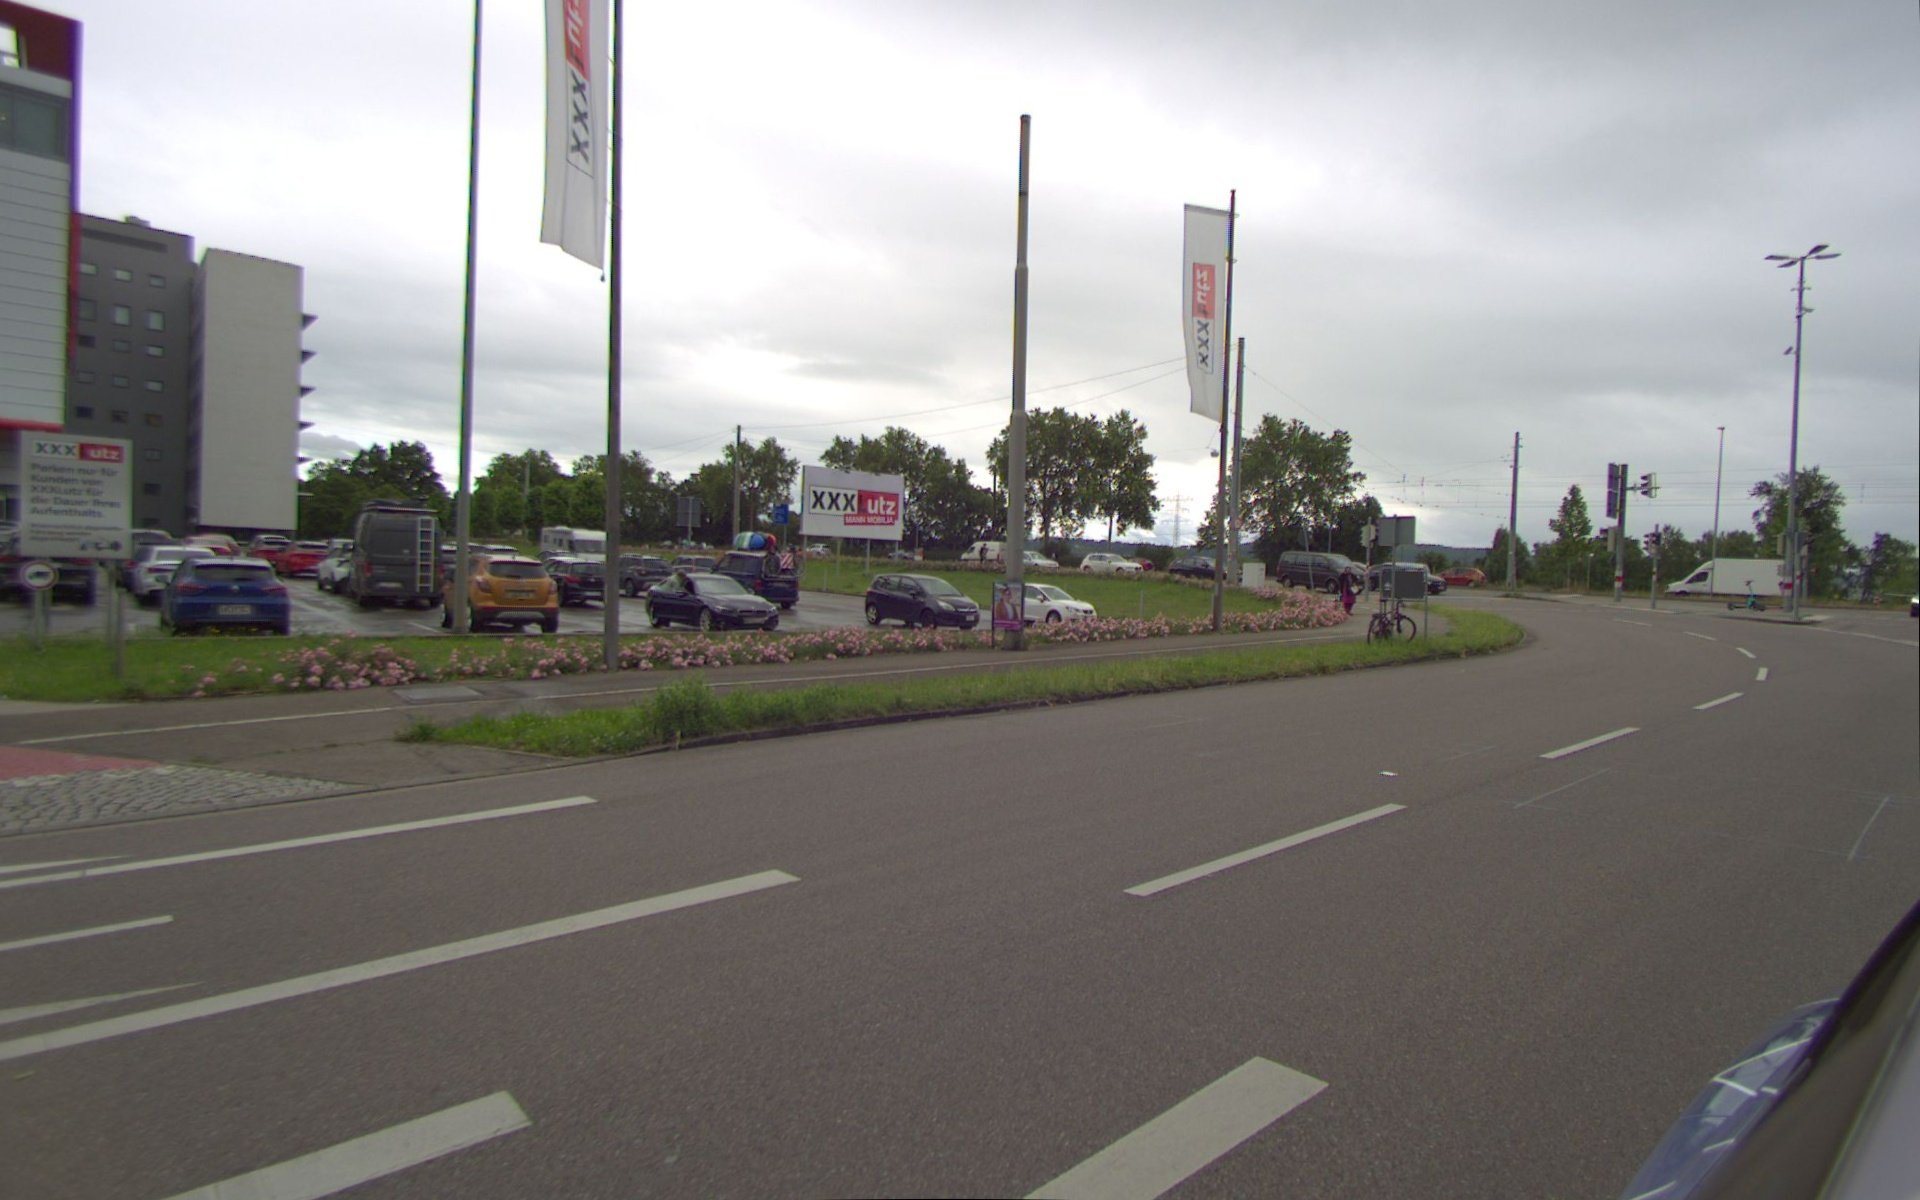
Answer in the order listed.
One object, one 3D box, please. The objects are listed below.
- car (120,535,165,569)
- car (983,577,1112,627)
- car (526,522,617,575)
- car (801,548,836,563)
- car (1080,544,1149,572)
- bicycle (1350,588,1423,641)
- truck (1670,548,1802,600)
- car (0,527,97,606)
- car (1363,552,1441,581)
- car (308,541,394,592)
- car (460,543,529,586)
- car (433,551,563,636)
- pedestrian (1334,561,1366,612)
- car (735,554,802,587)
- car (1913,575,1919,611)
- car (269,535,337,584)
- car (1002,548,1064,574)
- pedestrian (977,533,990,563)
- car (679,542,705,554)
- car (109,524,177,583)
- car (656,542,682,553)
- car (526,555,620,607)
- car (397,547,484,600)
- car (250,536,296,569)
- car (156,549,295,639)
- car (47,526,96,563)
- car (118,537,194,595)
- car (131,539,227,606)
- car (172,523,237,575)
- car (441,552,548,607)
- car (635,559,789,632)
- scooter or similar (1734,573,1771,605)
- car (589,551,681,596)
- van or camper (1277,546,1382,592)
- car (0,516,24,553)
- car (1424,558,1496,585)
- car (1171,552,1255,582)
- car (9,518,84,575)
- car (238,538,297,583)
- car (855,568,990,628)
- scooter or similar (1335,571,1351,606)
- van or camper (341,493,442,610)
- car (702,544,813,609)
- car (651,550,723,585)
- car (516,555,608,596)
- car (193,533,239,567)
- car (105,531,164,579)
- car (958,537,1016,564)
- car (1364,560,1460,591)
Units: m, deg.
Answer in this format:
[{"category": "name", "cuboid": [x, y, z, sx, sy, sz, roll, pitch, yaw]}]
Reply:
[{"category": "car", "cuboid": [-40.457, -2.349, 50.057, 1.621, 1.580, 3.611, 1, 0, -40]}, {"category": "car", "cuboid": [2.880, 0.058, 34.045, 1.843, 1.464, 4.112, 3, 0, -43]}, {"category": "car", "cuboid": [-24.706, -3.243, 64.167, 6.932, 3.027, 2.724, 3, 0, 45]}, {"category": "car", "cuboid": [-17.029, -5.365, 121.957, 4.183, 1.571, 1.834, 4, 1, 40]}, {"category": "car", "cuboid": [9.537, -2.597, 62.820, 1.703, 1.558, 4.040, 3, 1, -42]}, {"category": "bicycle", "cuboid": [9.077, 0.281, 21.529, 1.660, 1.061, 0.665, -1, 2, -36]}, {"category": "truck", "cuboid": [50.114, -1.694, 65.537, 6.513, 2.959, 2.788, 4, 1, 39]}, {"category": "car", "cuboid": [-22.057, -0.837, 24.333, 1.801, 1.674, 3.897, 1, 3, -43]}, {"category": "car", "cuboid": [34.023, -2.603, 77.951, 5.094, 1.903, 2.072, 4, 1, 37]}, {"category": "car", "cuboid": [-20.100, -1.104, 33.355, 1.822, 1.575, 3.995, 0, 2, -40]}, {"category": "car", "cuboid": [-21.143, -1.632, 45.919, 1.831, 1.802, 4.221, 1, 3, -39]}, {"category": "car", "cuboid": [-10.158, -0.210, 22.098, 1.782, 1.663, 3.999, 0, 2, -37]}, {"category": "pedestrian", "cuboid": [12.860, -0.466, 33.390, 0.771, 1.616, 0.715, -3, 5, -45]}, {"category": "car", "cuboid": [-10.508, -1.629, 55.350, 1.881, 1.778, 3.995, 0, 2, -41]}, {"category": "car", "cuboid": [38.991, -0.265, 39.799, 4.272, 1.408, 1.996, -1, 3, -44]}, {"category": "car", "cuboid": [-26.556, -1.636, 40.834, 1.801, 1.884, 3.995, 0, 2, -41]}, {"category": "car", "cuboid": [4.888, -2.644, 68.226, 1.718, 1.622, 4.066, 3, 0, -44]}, {"category": "pedestrian", "cuboid": [1.440, -3.238, 62.939, 0.625, 1.804, 0.544, 3, 0, 13]}, {"category": "car", "cuboid": [-38.805, -7.549, 146.655, 1.967, 1.645, 3.991, -1, 2, -44]}, {"category": "car", "cuboid": [-30.425, -1.712, 37.652, 1.851, 2.073, 3.994, 0, 2, -41]}, {"category": "car", "cuboid": [-45.633, -8.220, 158.843, 4.300, 1.581, 1.834, 4, -1, 41]}, {"category": "car", "cuboid": [-12.630, -0.661, 32.915, 1.911, 1.575, 4.000, 0, 2, -36]}, {"category": "car", "cuboid": [-17.945, -0.944, 34.869, 1.852, 1.690, 3.997, 0, 3, -40]}, {"category": "car", "cuboid": [-36.342, -2.511, 53.490, 1.621, 1.579, 3.613, 2, 3, -40]}, {"category": "car", "cuboid": [-13.637, -0.189, 18.699, 1.783, 1.473, 3.995, -1, 3, -40]}, {"category": "car", "cuboid": [-41.776, -2.627, 47.636, 1.621, 1.579, 3.613, 2, 3, -40]}, {"category": "car", "cuboid": [-23.366, -0.984, 29.377, 1.628, 1.575, 3.674, 0, 2, -40]}, {"category": "car", "cuboid": [-20.101, -0.723, 25.999, 1.830, 1.571, 3.996, 0, 2, -40]}, {"category": "car", "cuboid": [-31.477, -2.108, 42.118, 1.965, 2.038, 3.996, 0, 2, -40]}, {"category": "car", "cuboid": [-14.327, -0.660, 31.020, 1.965, 1.588, 3.995, 0, 2, -41]}, {"category": "car", "cuboid": [-6.234, -0.180, 25.153, 1.740, 1.602, 4.532, -1, 3, -43]}, {"category": "scooter or similar", "cuboid": [32.539, -0.465, 41.562, 0.314, 1.271, 1.117, -1, 4, -28]}, {"category": "car", "cuboid": [-12.913, -1.077, 40.096, 1.966, 1.696, 3.993, 0, 2, -42]}, {"category": "van or camper", "cuboid": [18.320, -1.606, 50.390, 2.080, 2.037, 4.764, -1, 5, -26]}, {"category": "car", "cuboid": [-44.130, -3.051, 46.346, 1.621, 1.579, 3.613, 2, 3, -40]}, {"category": "car", "cuboid": [35.193, -2.000, 71.240, 4.227, 1.672, 1.760, 4, 1, 38]}, {"category": "car", "cuboid": [14.234, -1.881, 57.087, 1.932, 1.482, 4.323, 0, 3, -36]}, {"category": "car", "cuboid": [-32.196, -1.907, 35.622, 1.824, 1.797, 4.190, 1, 2, -44]}, {"category": "car", "cuboid": [-30.176, -1.748, 44.064, 1.788, 1.840, 3.998, -1, 3, -39]}, {"category": "car", "cuboid": [-1.183, -0.082, 30.519, 1.740, 1.603, 4.095, 2, 1, -44]}, {"category": "scooter or similar", "cuboid": [14.195, -0.443, 37.513, 0.340, 1.248, 1.162, 0, 2, 10]}, {"category": "van or camper", "cuboid": [-16.332, -1.374, 28.918, 1.953, 3.020, 5.399, 0, 2, -35]}, {"category": "car", "cuboid": [-7.638, -0.936, 37.762, 2.083, 2.191, 5.052, 0, 3, -36]}, {"category": "car", "cuboid": [-14.043, -1.661, 52.041, 1.855, 1.686, 3.991, 0, 2, -44]}, {"category": "car", "cuboid": [-15.265, -0.957, 38.755, 3.891, 1.486, 1.803, 3, 2, 43]}, {"category": "car", "cuboid": [-37.782, -2.555, 51.385, 1.621, 1.579, 3.613, 2, 3, -40]}, {"category": "car", "cuboid": [-33.606, -1.814, 41.191, 1.781, 1.865, 3.686, -1, 2, -40]}, {"category": "car", "cuboid": [2.828, -5.309, 108.677, 5.880, 2.658, 2.623, 4, 1, 43]}, {"category": "car", "cuboid": [23.121, -1.288, 51.922, 1.800, 1.482, 4.214, 0, 2, -29]}]
